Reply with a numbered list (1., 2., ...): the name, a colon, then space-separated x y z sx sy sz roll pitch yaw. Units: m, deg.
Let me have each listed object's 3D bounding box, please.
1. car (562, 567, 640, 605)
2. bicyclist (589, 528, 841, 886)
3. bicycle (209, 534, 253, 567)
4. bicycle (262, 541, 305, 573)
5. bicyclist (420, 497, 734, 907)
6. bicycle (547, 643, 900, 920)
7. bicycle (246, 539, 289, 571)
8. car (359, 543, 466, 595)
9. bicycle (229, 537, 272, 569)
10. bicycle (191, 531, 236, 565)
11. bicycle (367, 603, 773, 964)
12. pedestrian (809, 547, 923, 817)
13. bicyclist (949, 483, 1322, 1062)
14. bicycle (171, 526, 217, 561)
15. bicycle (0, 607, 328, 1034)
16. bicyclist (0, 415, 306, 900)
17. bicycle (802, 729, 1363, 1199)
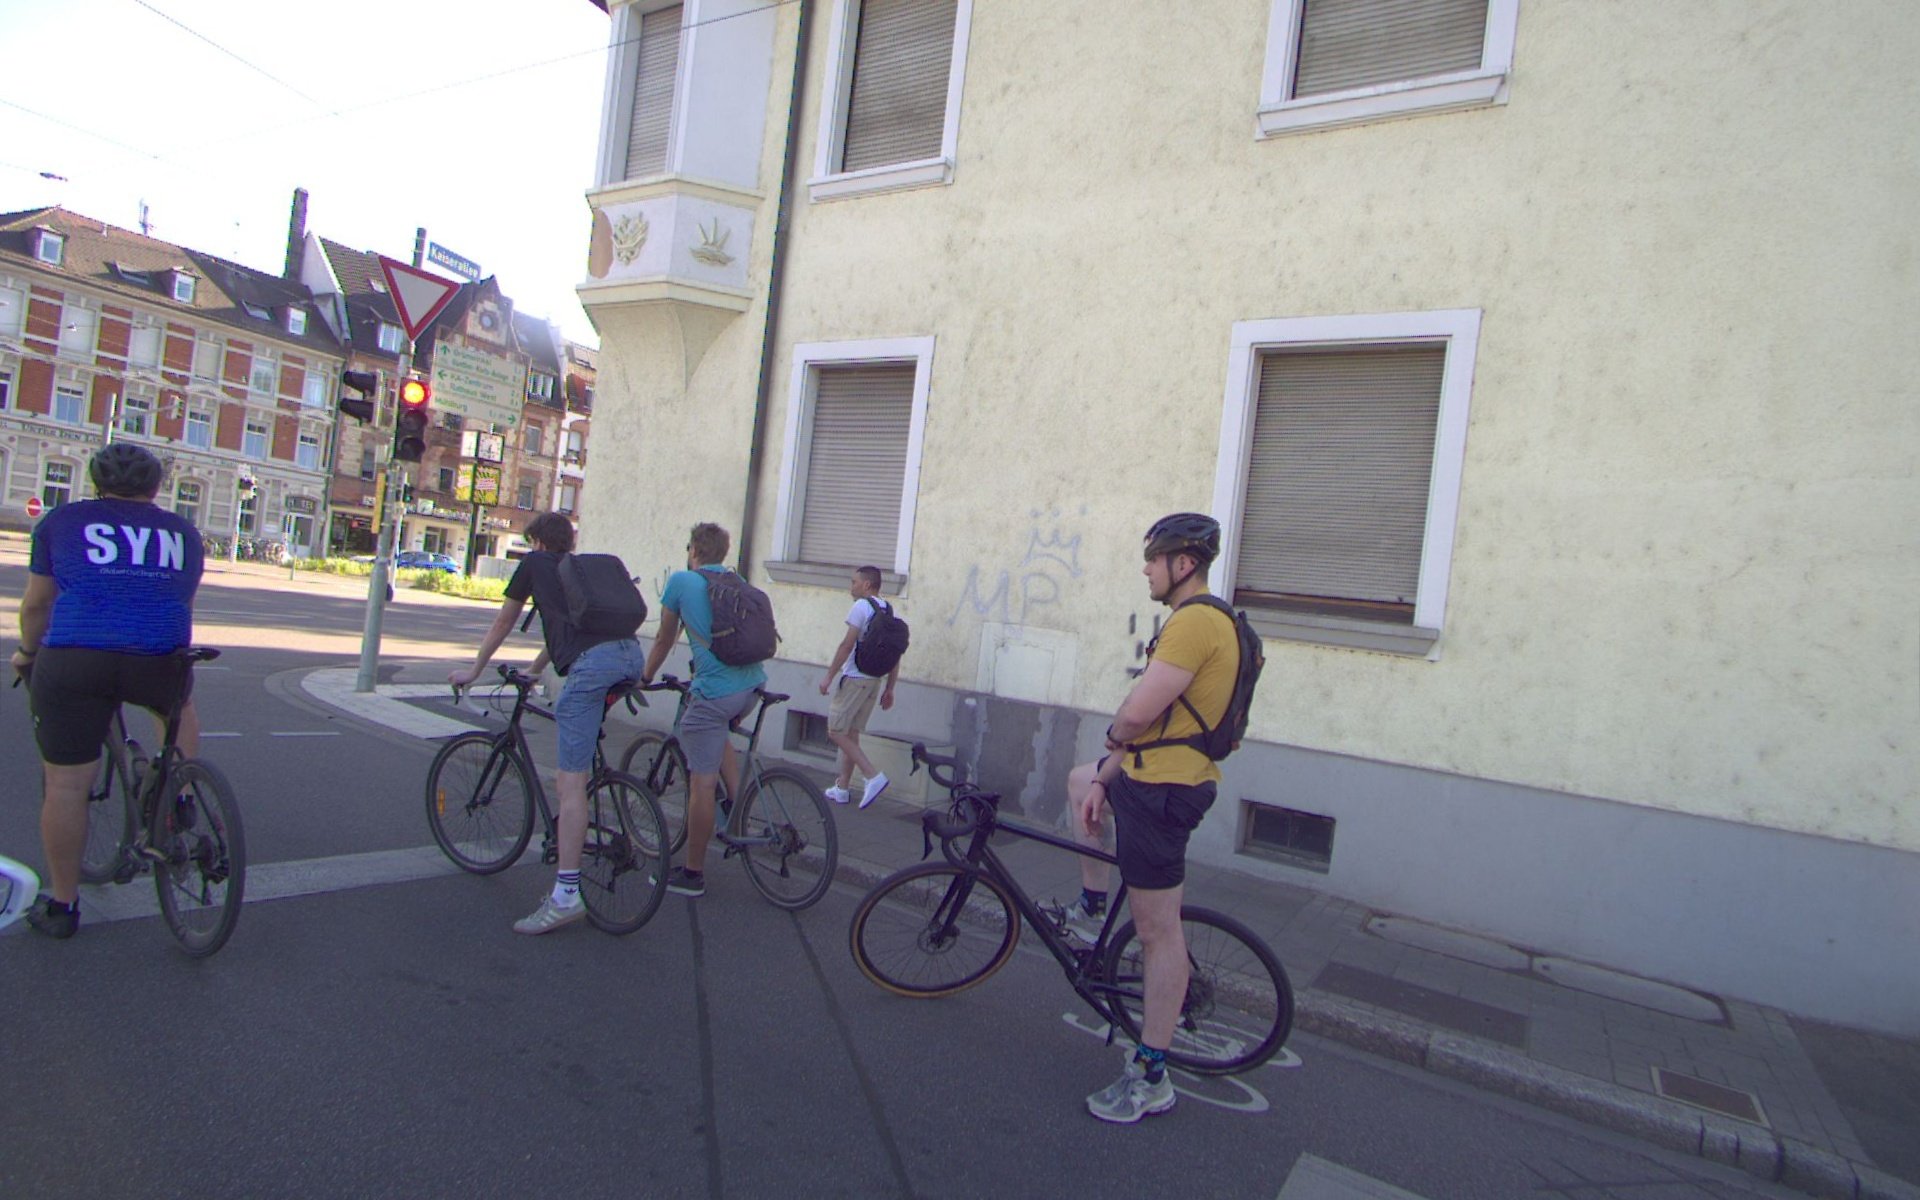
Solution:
1. car: -23.234 -0.872 65.279 1.967 1.798 4.374 6 -2 31
2. bicyclist: -1.277 0.522 5.265 0.869 1.652 0.690 6 -1 34
3. bicycle: -33.823 -2.309 46.685 2.618 1.301 0.629 6 -1 33
4. bicycle: -32.671 -2.066 48.576 2.618 1.301 0.629 6 -1 33
5. bicyclist: -1.739 0.427 4.626 0.868 1.625 0.807 7 -1 30
6. bicycle: -1.261 0.859 5.221 1.742 1.043 0.650 6 -1 33
7. bicycle: -33.040 -2.152 47.987 2.618 1.301 0.629 6 -1 33
8. car: -25.458 -1.412 46.899 1.967 1.798 3.790 6 -2 31
9. bicycle: -33.407 -2.217 47.357 2.618 1.301 0.629 6 -1 33
10. bicycle: -34.189 -2.379 46.061 2.618 1.301 0.693 6 -1 33
11. bicycle: -1.828 0.751 4.669 1.674 1.251 0.756 6 -1 30
12. pedestrian: -0.664 0.551 7.032 0.631 1.780 0.584 4 3 -7
13. bicyclist: 0.639 0.517 3.527 0.869 1.682 0.807 6 -1 32
14. bicycle: -34.549 -2.559 45.347 2.618 1.301 0.693 6 -1 33
15. bicycle: -3.075 0.662 3.633 1.676 1.097 0.627 6 -1 35
16. bicyclist: -3.000 0.165 3.631 0.869 1.512 0.639 9 0 36
17. bicycle: 0.399 1.126 3.624 1.751 1.043 0.756 6 -2 33
